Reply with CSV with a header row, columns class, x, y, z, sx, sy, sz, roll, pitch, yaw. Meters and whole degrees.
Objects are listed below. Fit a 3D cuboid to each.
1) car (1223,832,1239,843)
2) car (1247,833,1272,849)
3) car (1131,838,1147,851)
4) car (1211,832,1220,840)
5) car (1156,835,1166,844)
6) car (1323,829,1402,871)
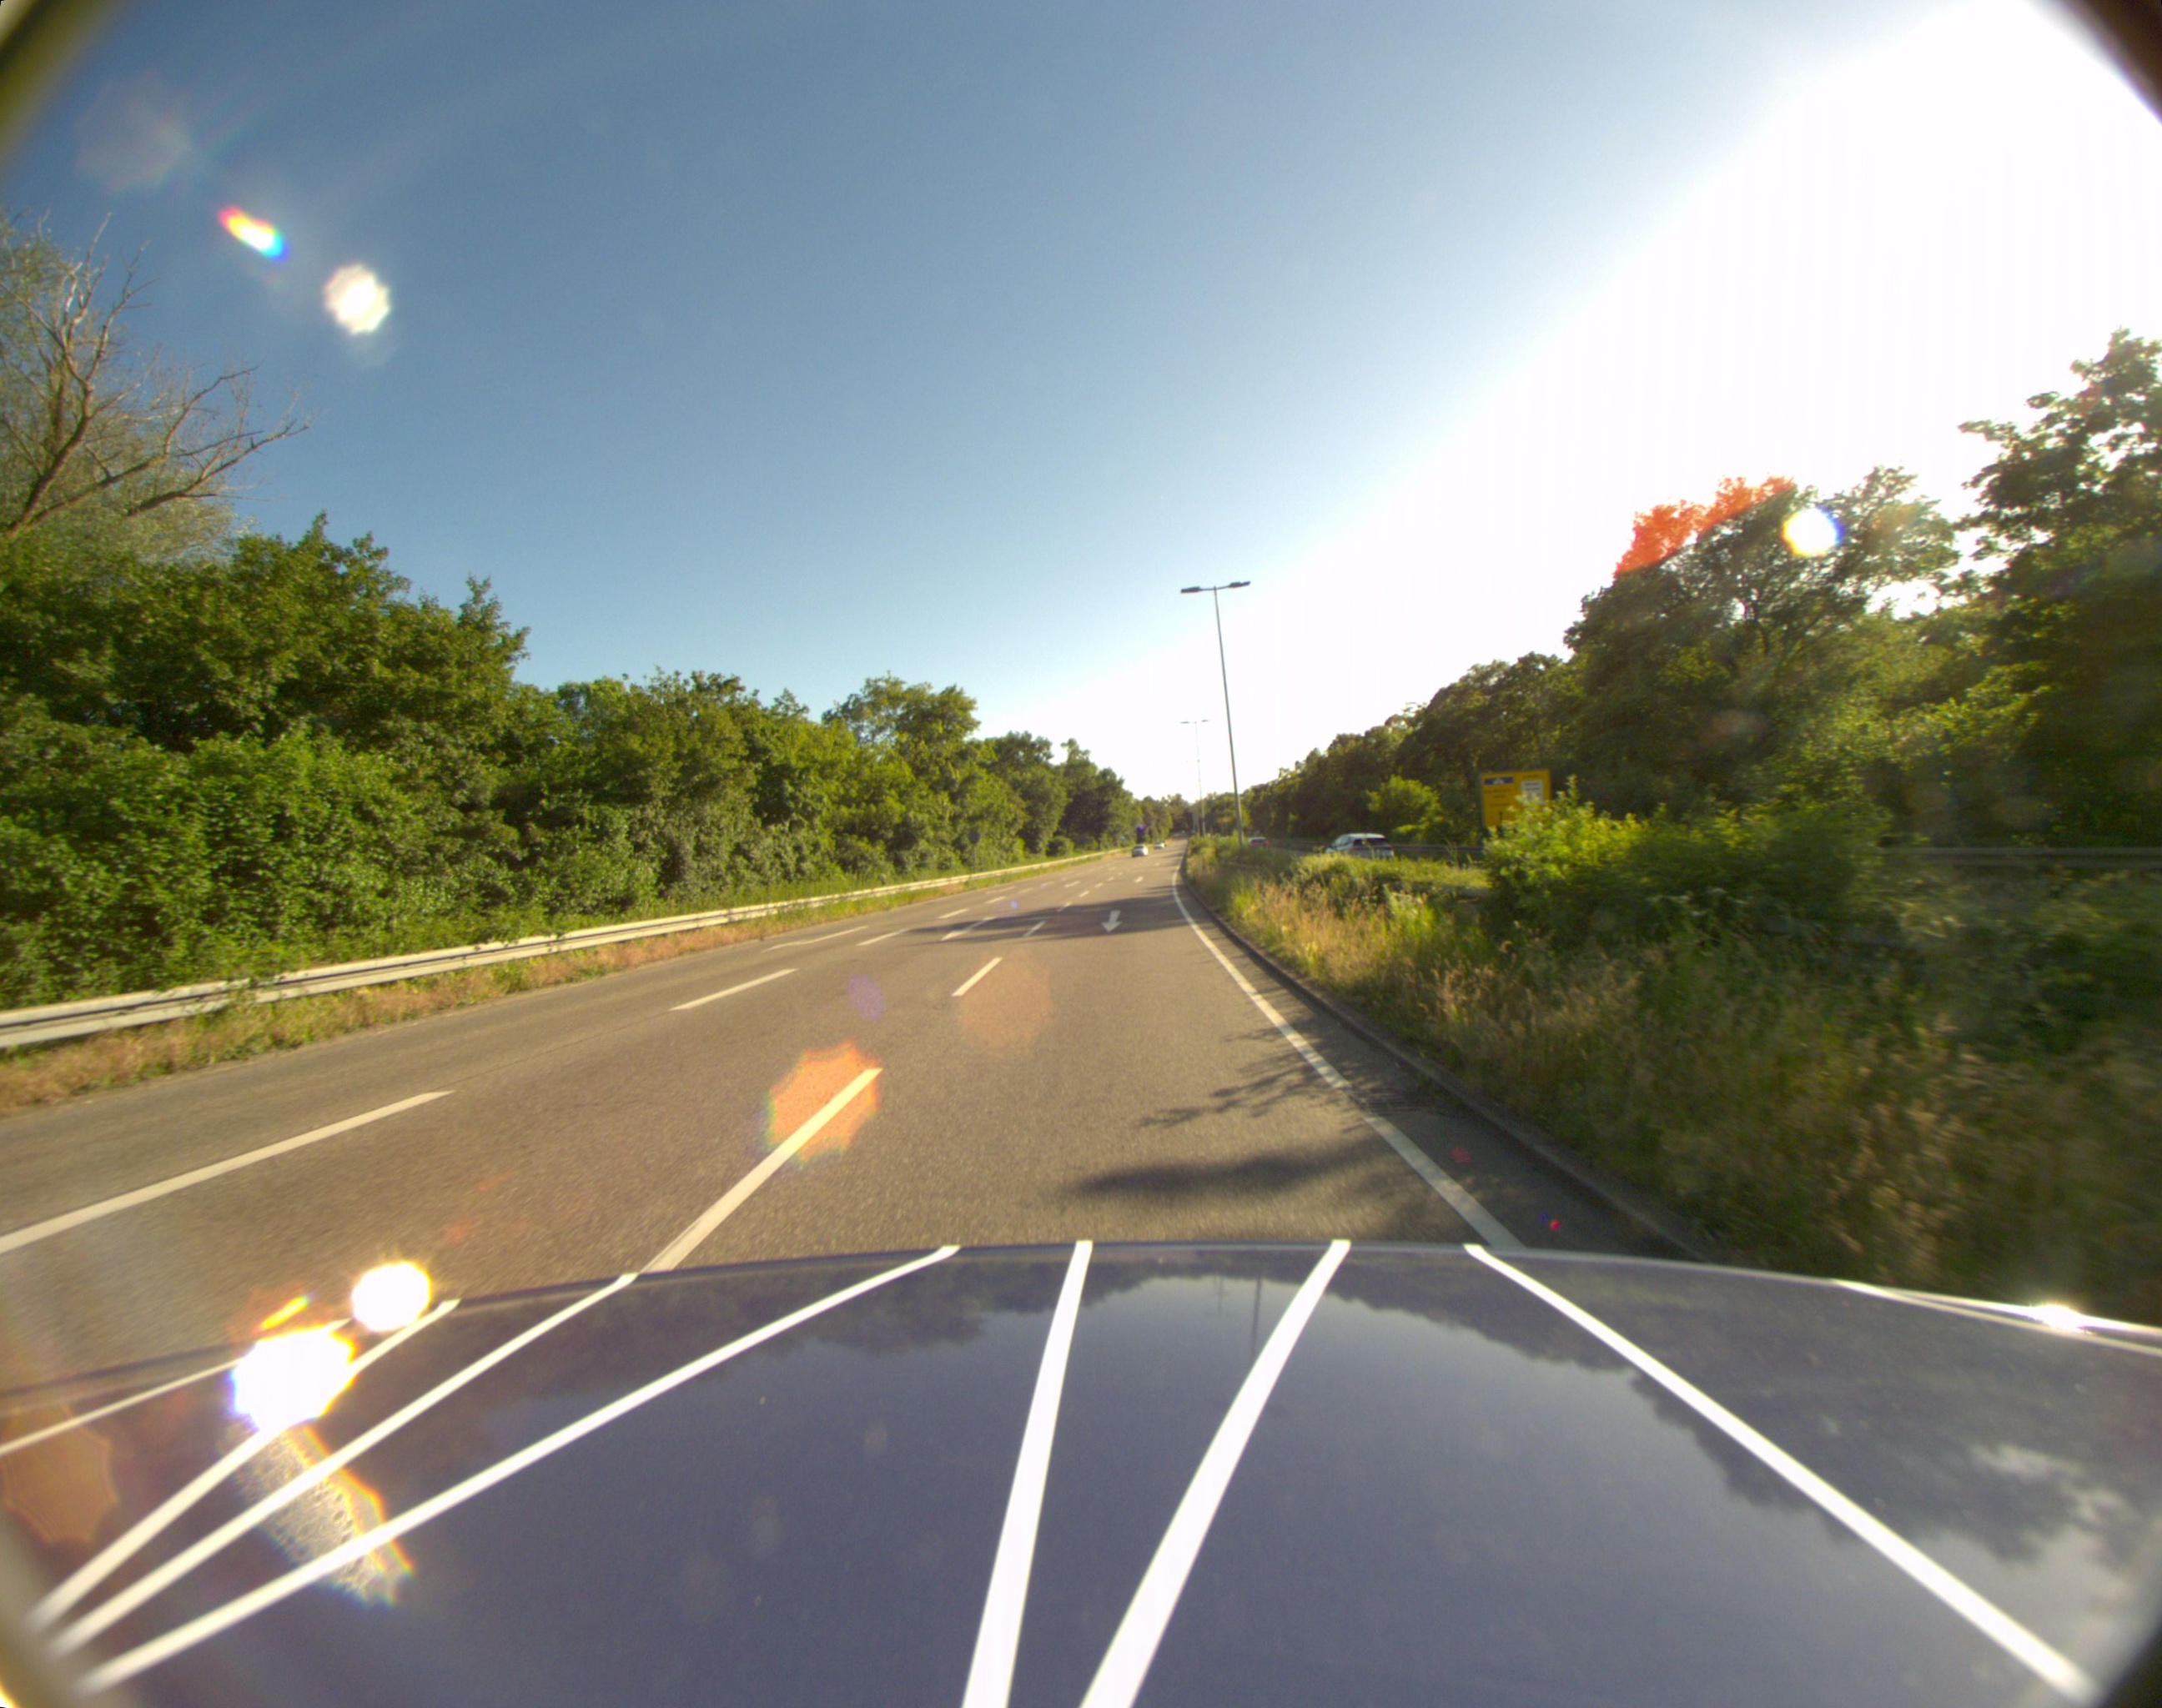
class,x,y,z,sx,sy,sz,roll,pitch,yaw
car,21.218,-2.390,107.662,1.809,1.409,4.532,-3,1,6
car,16.271,-1.195,69.298,1.889,1.412,4.366,-2,1,9
car,6.983,-1.135,91.543,1.681,1.477,3.391,-4,0,7
car,28.359,-3.805,159.884,1.690,1.678,3.624,-4,0,8
car,15.649,-2.790,148.296,1.909,1.477,3.346,-4,0,7
car,11.405,-0.176,31.064,1.889,1.511,4.217,-3,0,4
